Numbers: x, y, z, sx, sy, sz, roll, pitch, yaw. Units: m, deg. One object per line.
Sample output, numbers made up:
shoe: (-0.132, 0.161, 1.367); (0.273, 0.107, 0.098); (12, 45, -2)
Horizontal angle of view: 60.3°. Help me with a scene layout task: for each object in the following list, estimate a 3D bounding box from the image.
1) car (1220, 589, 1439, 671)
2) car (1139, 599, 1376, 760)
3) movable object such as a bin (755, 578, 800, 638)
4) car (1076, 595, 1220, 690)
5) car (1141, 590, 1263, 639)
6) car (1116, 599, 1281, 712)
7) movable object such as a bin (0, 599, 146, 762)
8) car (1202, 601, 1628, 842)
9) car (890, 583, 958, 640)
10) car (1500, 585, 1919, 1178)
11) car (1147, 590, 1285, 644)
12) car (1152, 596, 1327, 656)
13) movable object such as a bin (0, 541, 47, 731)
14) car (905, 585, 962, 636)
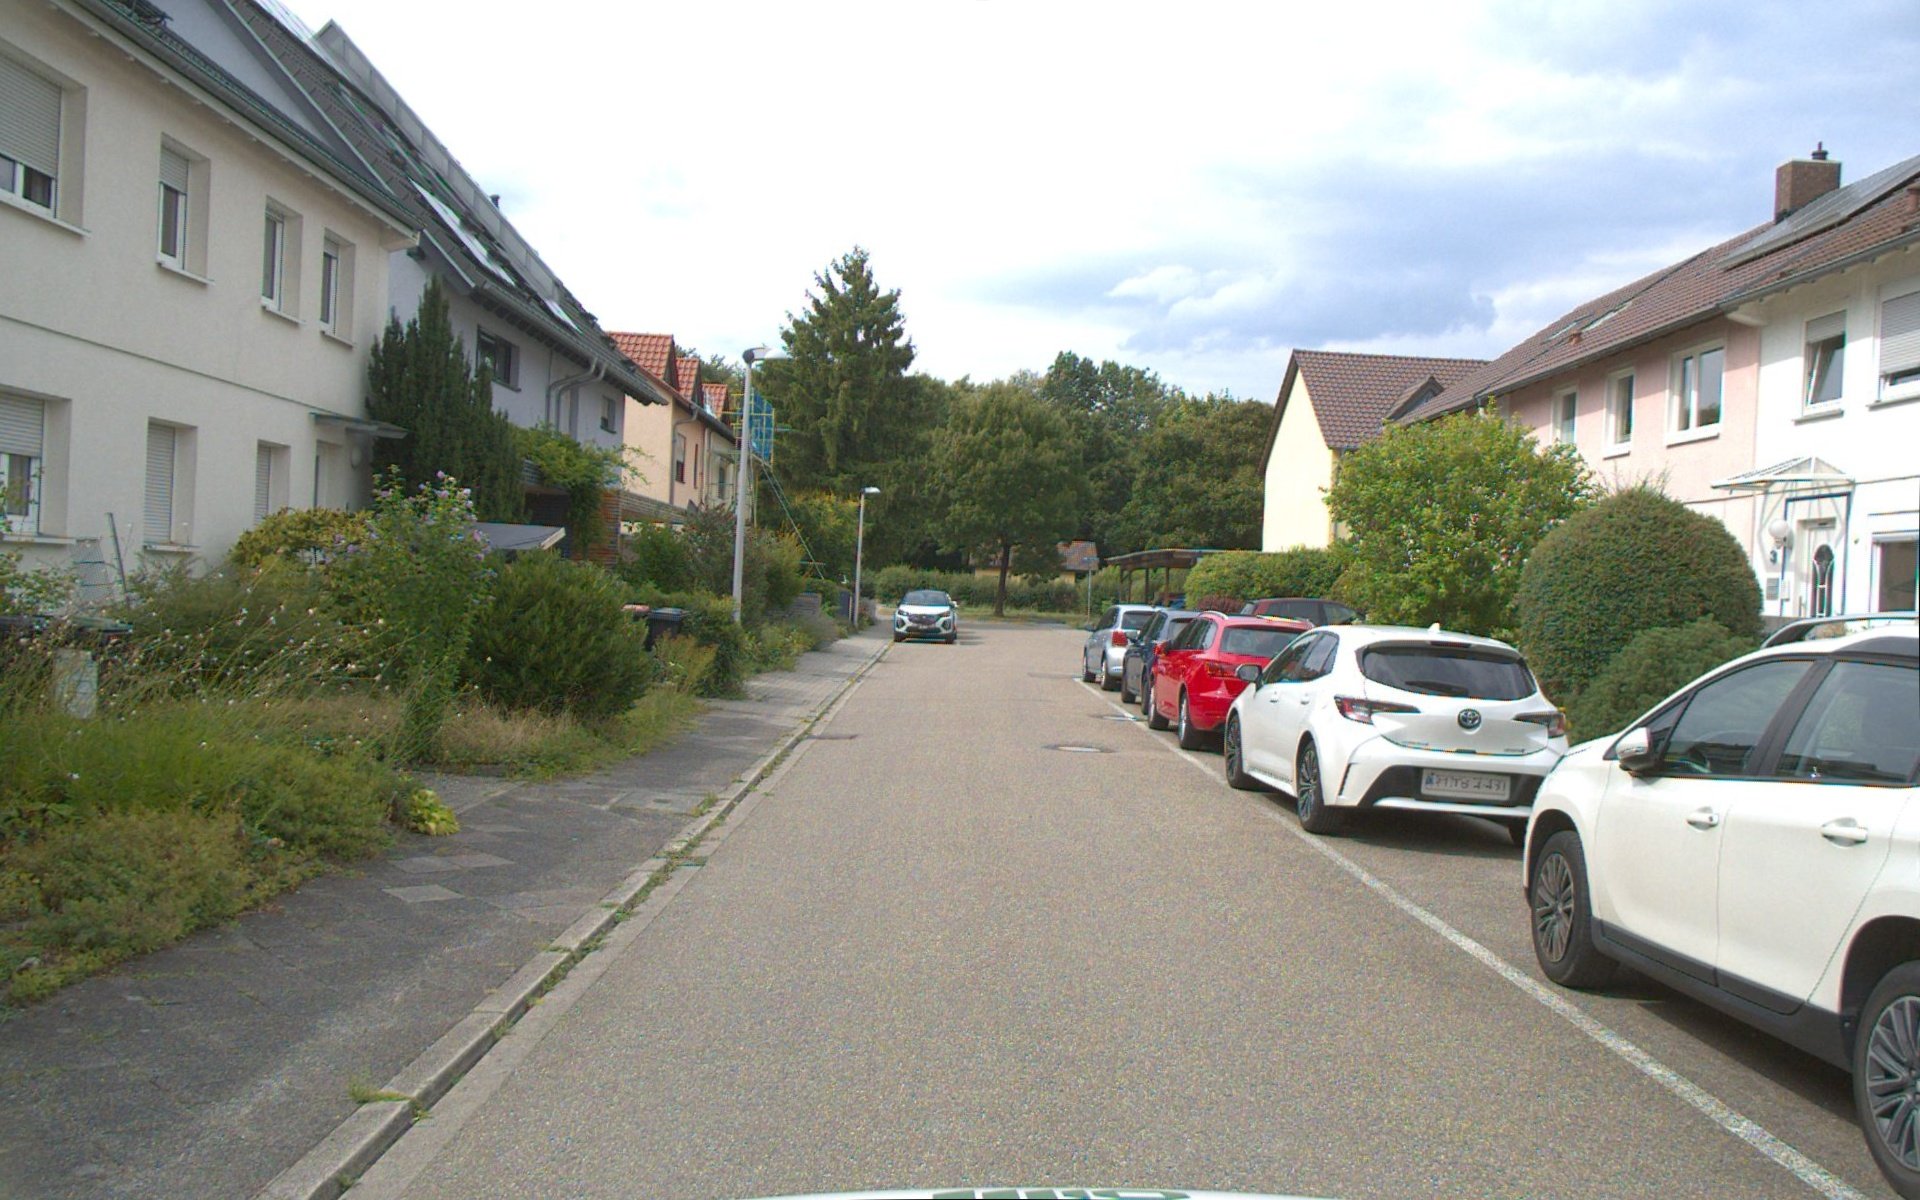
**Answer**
car: (7.772, 0.617, 35.071); (4.182, 1.587, 1.935); (1, 0, 0)
car: (3.227, 0.787, 18.884); (1.738, 1.460, 4.825); (4, 0, 0)
movable object such as a bin: (-4.218, 0.174, 38.262); (0.930, 1.335, 1.000); (1, 0, -1)
car: (3.237, 0.685, 29.217); (1.827, 1.441, 4.251); (3, 1, -3)
car: (8.365, 0.484, 57.444); (3.878, 1.567, 1.838); (2, 0, -3)
car: (3.316, 0.727, 23.719); (1.736, 1.379, 4.265); (2, 1, 0)
movable object such as a bin: (-5.869, 0.518, 10.926); (0.661, 1.025, 0.598); (1, 0, 0)
car: (3.247, 0.781, 12.869); (1.801, 1.437, 4.634); (2, 1, -3)
car: (-1.040, 0.317, 50.080); (1.894, 1.583, 4.634); (2, 1, 0)
car: (3.406, 0.793, 5.639); (1.679, 1.570, 3.973); (4, 0, -1)
car: (8.096, 0.532, 52.520); (3.965, 1.549, 1.949); (2, 0, -3)
car: (7.552, 0.686, 44.975); (4.360, 1.458, 2.026); (2, 0, -2)
movable object such as a bin: (-6.702, 0.233, 11.131); (0.682, 1.261, 0.734); (1, 0, 0)
car: (-0.878, 0.318, 55.481); (1.773, 1.589, 4.847); (2, 1, -1)
